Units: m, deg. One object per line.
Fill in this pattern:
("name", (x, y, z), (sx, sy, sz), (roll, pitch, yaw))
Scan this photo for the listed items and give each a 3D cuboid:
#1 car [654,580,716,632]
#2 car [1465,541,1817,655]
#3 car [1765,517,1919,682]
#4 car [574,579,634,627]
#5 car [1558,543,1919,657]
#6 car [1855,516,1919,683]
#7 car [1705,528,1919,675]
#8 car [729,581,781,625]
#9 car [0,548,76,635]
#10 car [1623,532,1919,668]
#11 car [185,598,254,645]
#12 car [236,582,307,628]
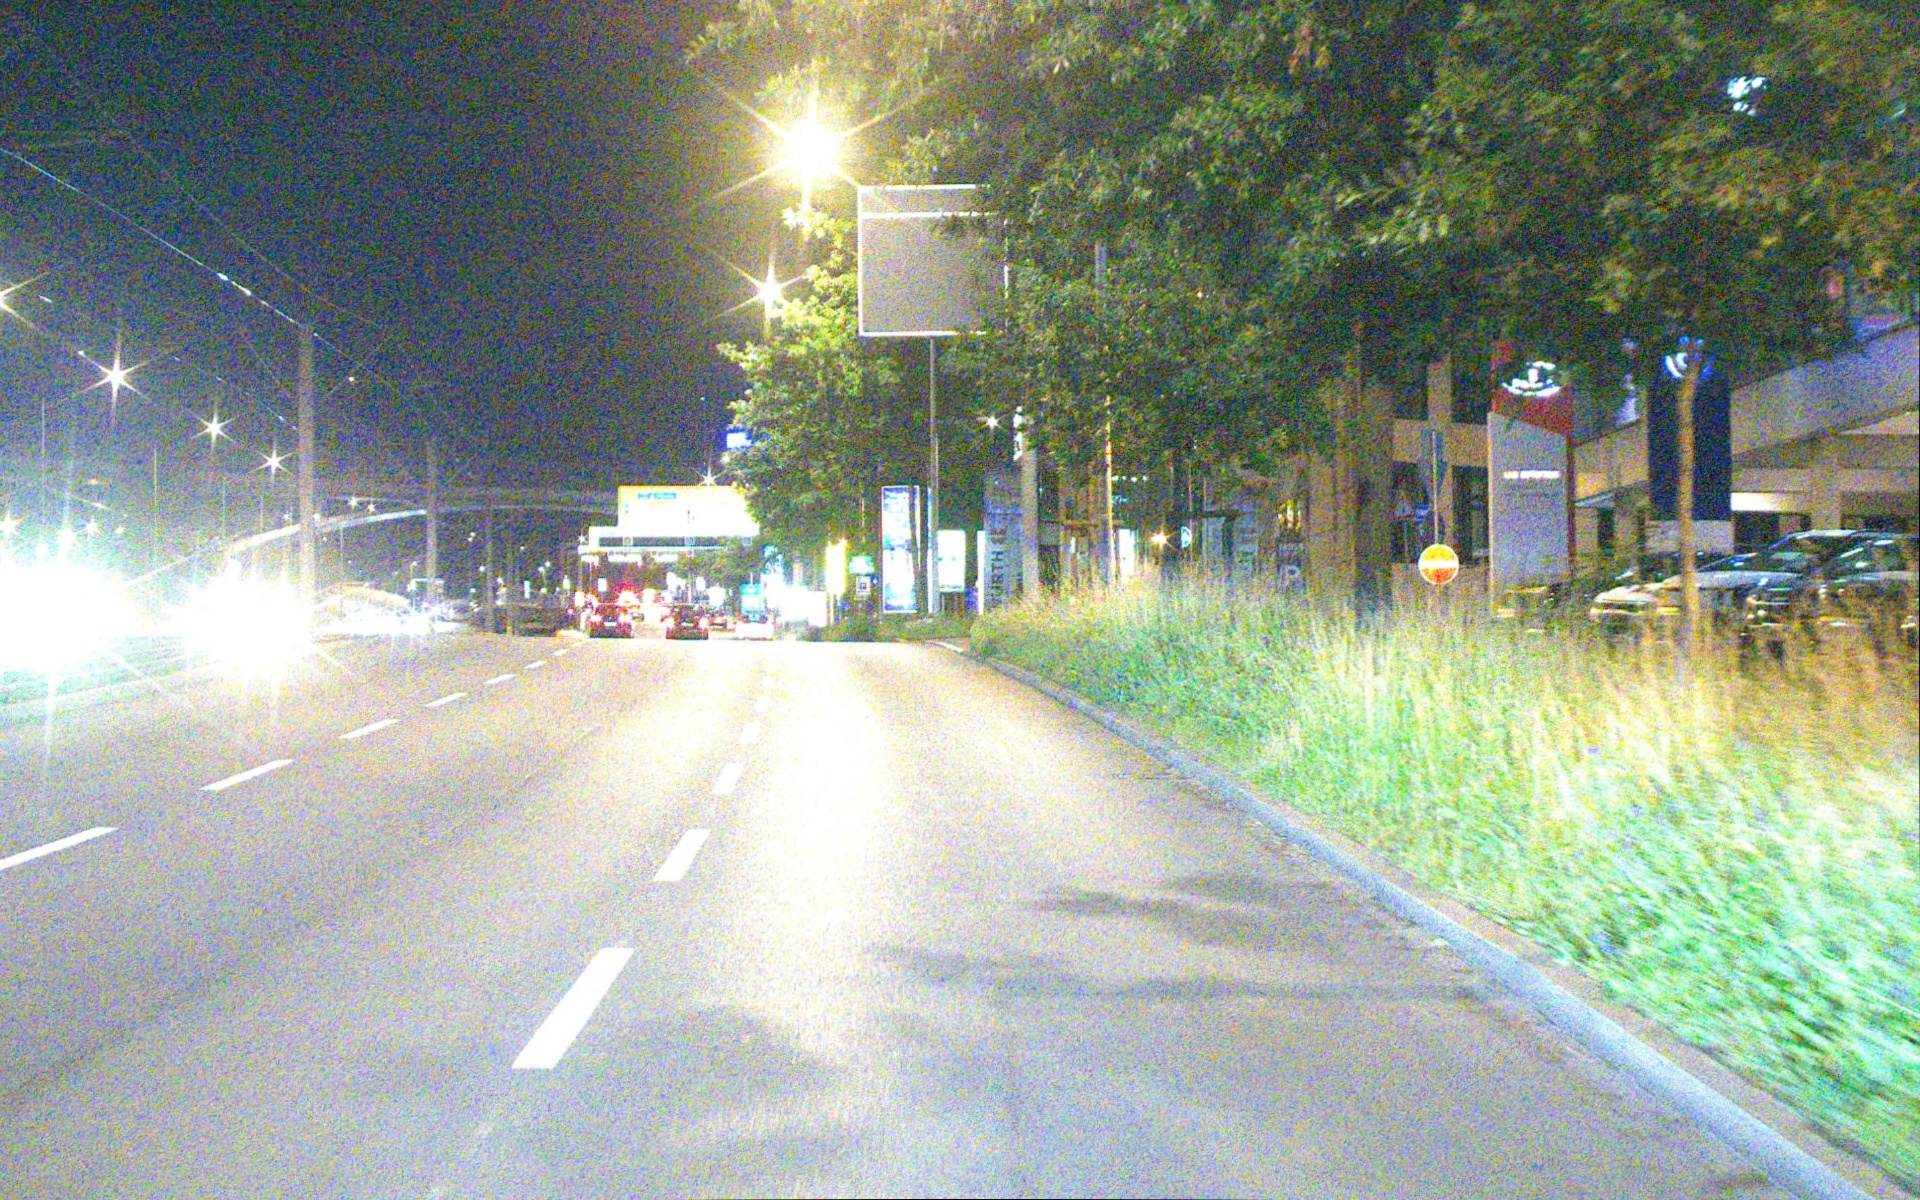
("car", (-11.578, 0.243, 145.034), (2.356, 2.122, 4.826), (0, 0, -2))
("car", (8.951, -0.020, 45.292), (4.120, 1.415, 1.877), (1, 0, -15))
("car", (9.827, -0.080, 32.381), (3.986, 1.465, 1.833), (-2, 1, -20))
("car", (-15.395, 0.115, 148.866), (2.262, 2.007, 4.826), (0, 0, -2))
("car", (9.504, -0.026, 40.310), (4.628, 1.260, 1.948), (0, 1, -26))
("car", (9.893, -0.065, 29.490), (3.986, 1.387, 1.827), (-2, 2, -23))
("car", (9.557, 0.023, 34.897), (3.601, 1.428, 1.680), (0, 0, -25))
("car", (-10.022, 0.161, 168.416), (2.427, 2.106, 4.826), (1, 0, -2))
("car", (-30.333, -0.245, 113.290), (2.145, 2.662, 6.964), (-3, 0, -14))
("car", (9.500, -0.029, 37.588), (3.986, 1.419, 1.910), (0, 1, -19))
("car", (-26.844, 0.753, 124.697), (1.993, 1.589, 4.001), (-2, 1, -6))
("car", (-23.007, 0.160, 115.008), (1.620, 1.435, 4.338), (-2, 0, -2))
